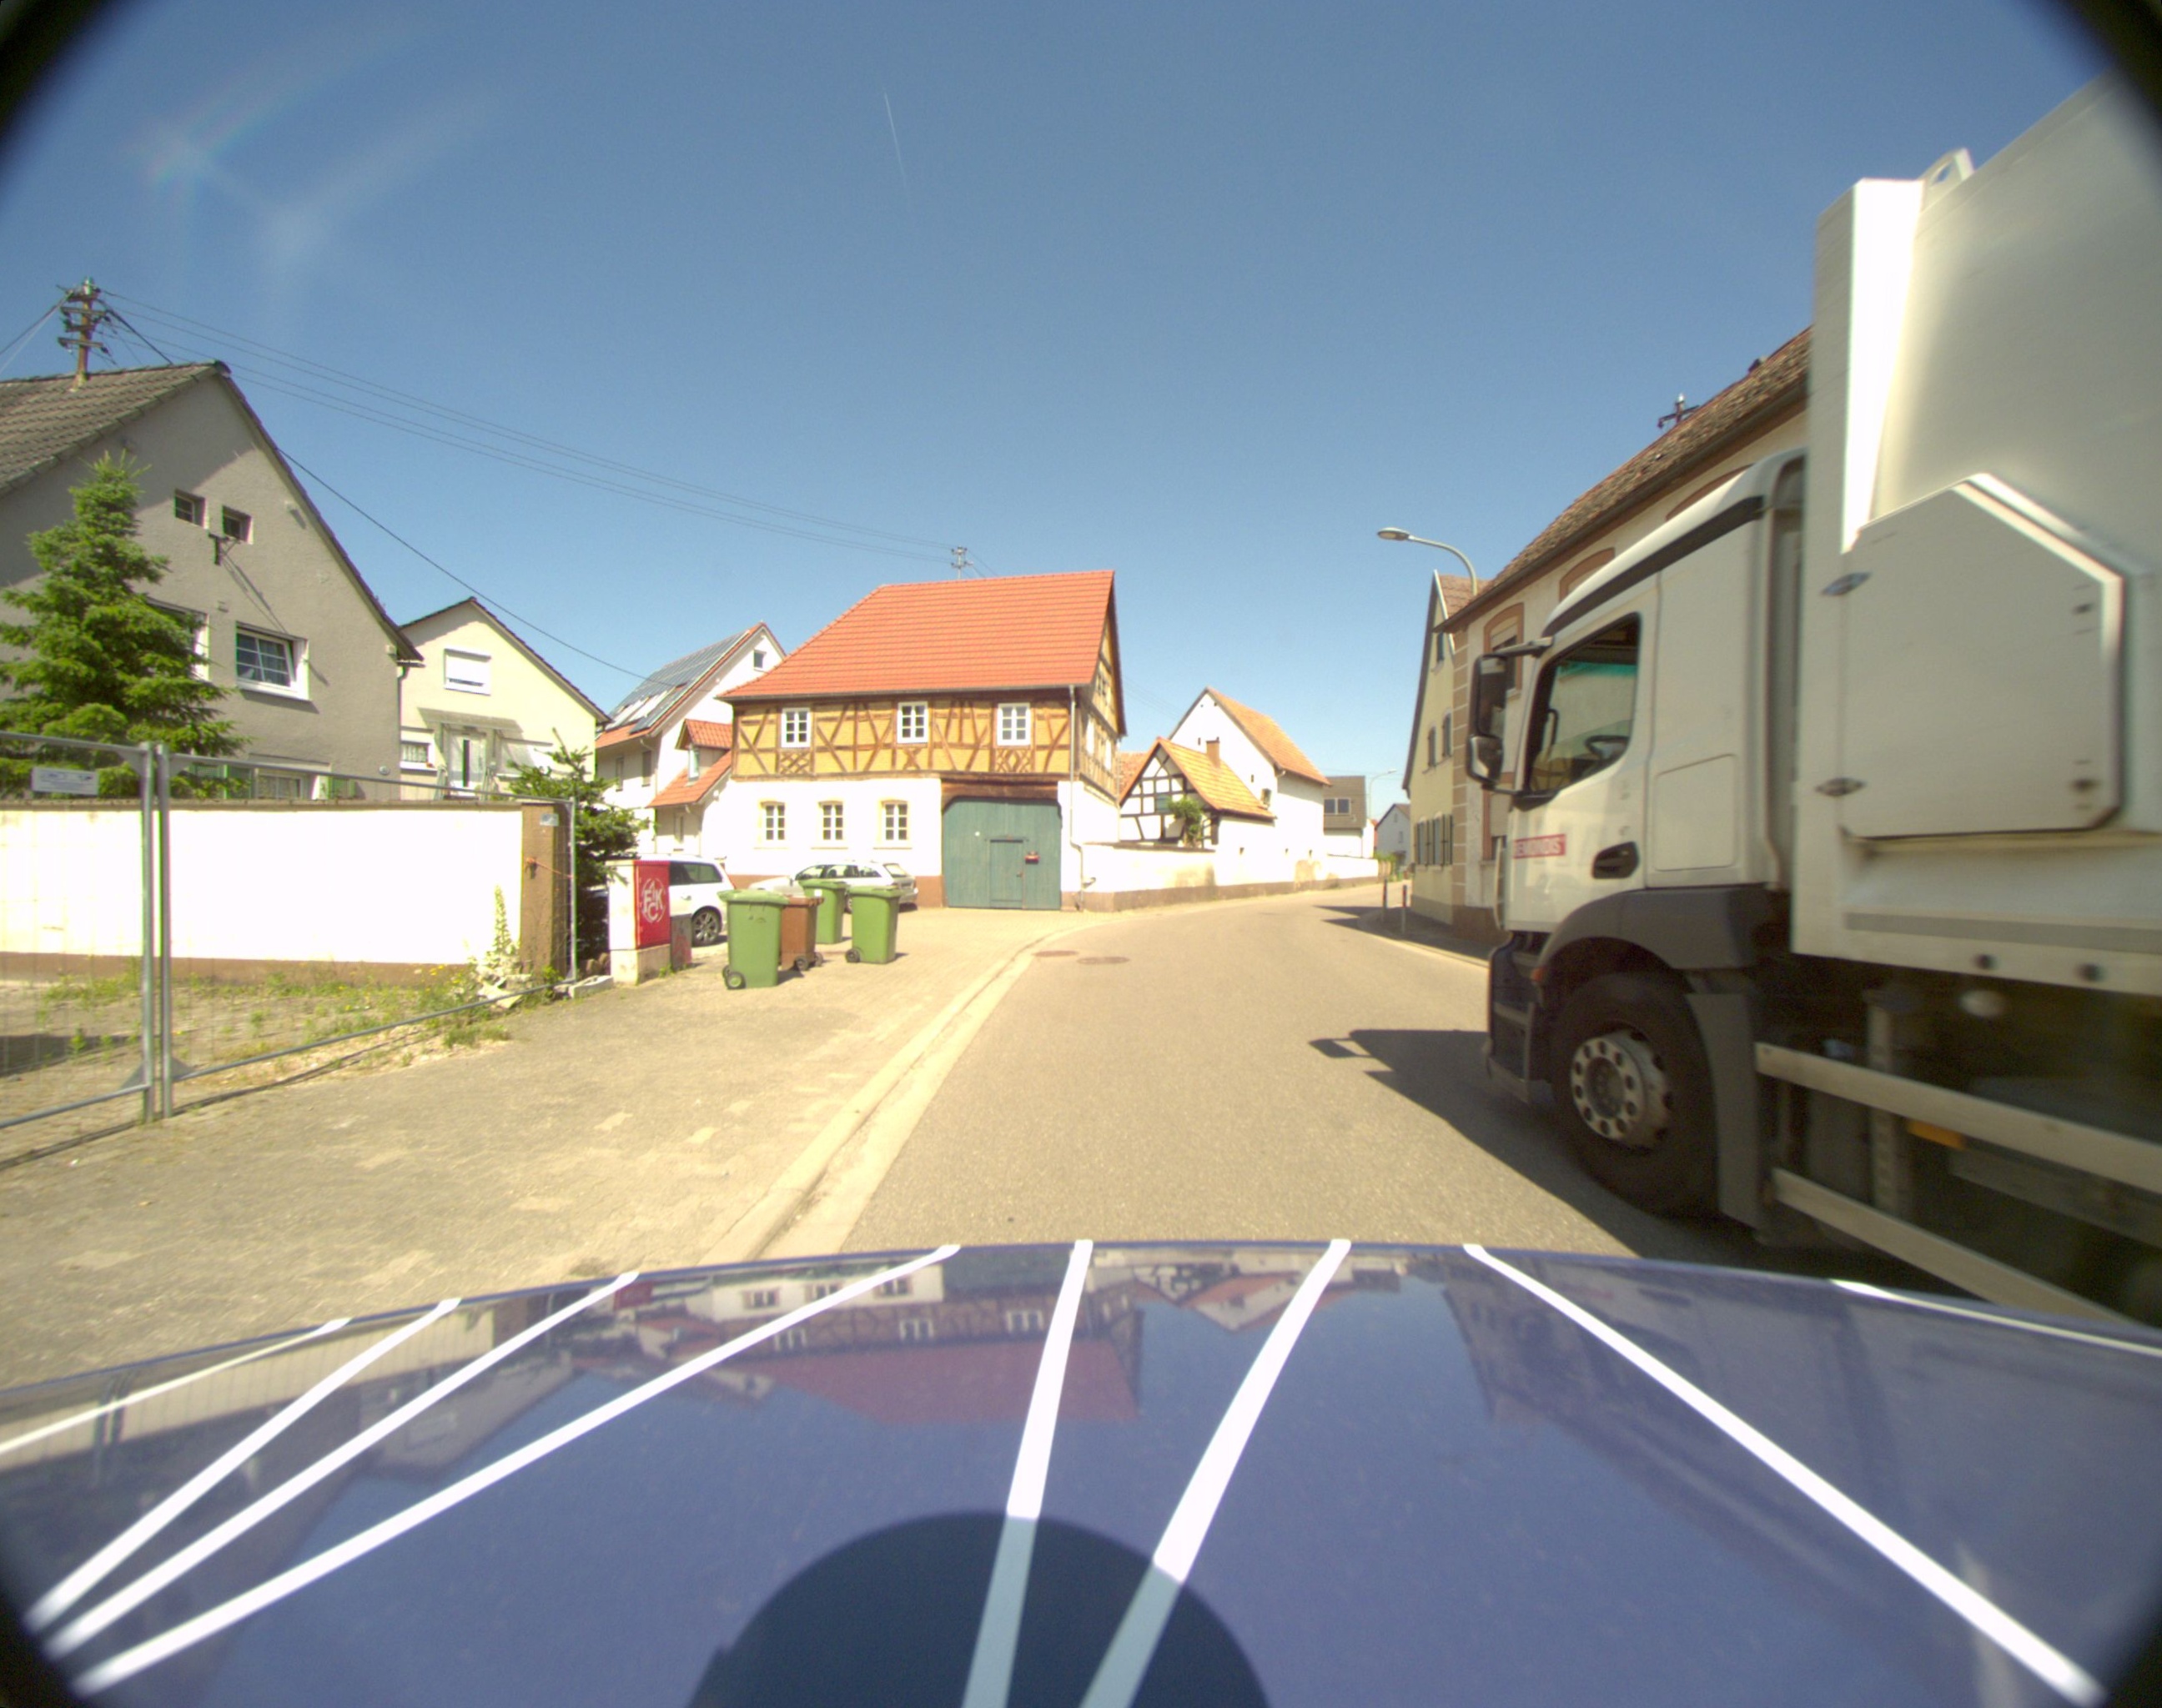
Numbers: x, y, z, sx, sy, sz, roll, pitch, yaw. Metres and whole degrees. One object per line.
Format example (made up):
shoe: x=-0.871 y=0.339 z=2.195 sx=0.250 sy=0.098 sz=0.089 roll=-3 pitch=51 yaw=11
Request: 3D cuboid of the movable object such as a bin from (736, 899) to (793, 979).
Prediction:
movable object such as a bin: x=-4.067 y=1.082 z=9.776 sx=0.465 sy=0.965 sz=0.496 roll=1 pitch=0 yaw=8

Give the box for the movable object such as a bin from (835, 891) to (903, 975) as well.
movable object such as a bin: x=-2.939 y=1.085 z=10.568 sx=0.688 sy=1.085 sz=0.638 roll=1 pitch=0 yaw=9

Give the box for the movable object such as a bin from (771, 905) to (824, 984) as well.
movable object such as a bin: x=-3.618 y=1.146 z=9.709 sx=0.445 sy=0.944 sz=0.463 roll=1 pitch=0 yaw=9

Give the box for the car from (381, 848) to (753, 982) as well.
car: x=-7.087 y=0.754 z=11.134 sx=1.812 sy=1.519 sz=4.303 roll=2 pitch=-1 yaw=16

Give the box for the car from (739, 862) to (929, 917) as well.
car: x=-6.943 y=0.950 z=21.543 sx=4.759 sy=1.443 sz=2.002 roll=0 pitch=-1 yaw=12

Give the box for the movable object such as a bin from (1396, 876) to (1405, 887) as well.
movable object such as a bin: x=27.635 y=2.380 z=65.694 sx=0.551 sy=0.971 sz=0.433 roll=2 pitch=0 yaw=5

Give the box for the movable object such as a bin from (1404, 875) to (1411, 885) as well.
movable object such as a bin: x=32.301 y=2.606 z=75.151 sx=0.504 sy=0.971 sz=0.434 roll=1 pitch=0 yaw=30

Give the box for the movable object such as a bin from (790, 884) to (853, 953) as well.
movable object such as a bin: x=-4.326 y=1.059 z=12.719 sx=0.721 sy=1.075 sz=0.755 roll=1 pitch=0 yaw=5

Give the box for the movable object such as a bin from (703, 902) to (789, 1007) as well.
movable object such as a bin: x=-3.724 y=1.081 z=8.436 sx=0.763 sy=1.066 sz=0.670 roll=2 pitch=0 yaw=-32

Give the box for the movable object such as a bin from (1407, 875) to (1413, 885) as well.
movable object such as a bin: x=32.950 y=2.565 z=76.046 sx=0.504 sy=0.971 sz=0.496 roll=1 pitch=0 yaw=30
